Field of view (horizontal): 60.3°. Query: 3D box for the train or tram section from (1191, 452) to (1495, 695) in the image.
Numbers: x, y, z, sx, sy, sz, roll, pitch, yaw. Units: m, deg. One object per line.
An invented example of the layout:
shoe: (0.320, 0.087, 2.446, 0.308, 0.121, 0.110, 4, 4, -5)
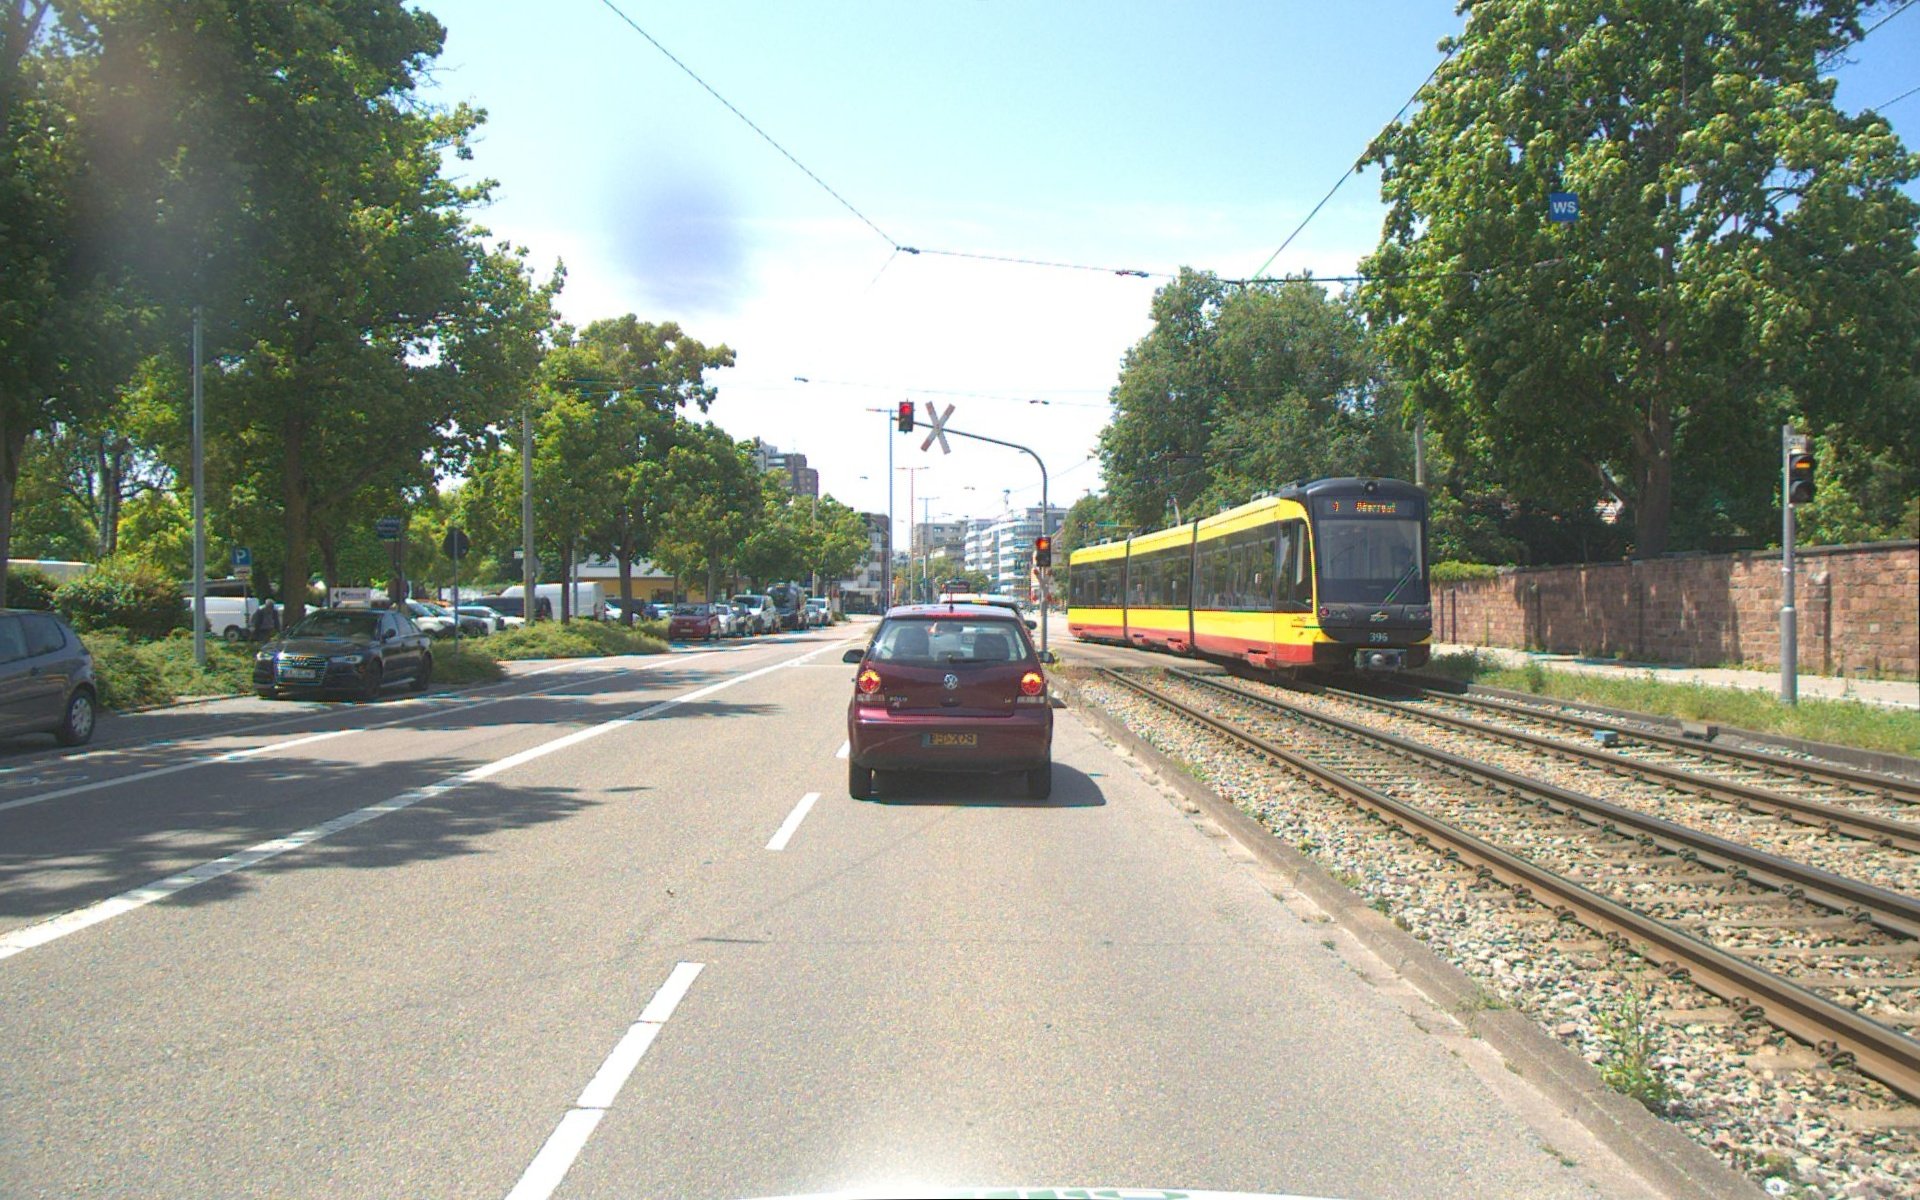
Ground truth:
train or tram section: (7.034, -0.438, 33.006, 2.966, 3.864, 13.088, 0, 0, 0)

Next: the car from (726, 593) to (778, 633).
car: (-10.388, 0.667, 82.849, 1.746, 1.914, 4.787, 2, -1, 2)

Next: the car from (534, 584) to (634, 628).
car: (-21.299, 0.354, 93.807, 4.992, 2.284, 2.378, 2, -1, 0)

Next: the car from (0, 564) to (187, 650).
car: (-33.106, 0.262, 62.295, 6.713, 3.017, 2.363, 2, -1, -2)

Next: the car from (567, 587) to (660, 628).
car: (-20.717, 0.447, 99.039, 4.992, 2.284, 2.378, 2, -1, 0)

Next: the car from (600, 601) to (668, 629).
car: (-20.972, 0.947, 106.351, 3.938, 1.645, 1.816, 2, -1, 0)

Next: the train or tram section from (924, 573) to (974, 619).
train or tram section: (-1.019, -0.363, 141.569, 2.689, 3.672, 12.849, 2, 0, -7)

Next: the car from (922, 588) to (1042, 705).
car: (0.276, 0.682, 26.429, 1.741, 1.676, 3.999, 1, 0, -1)

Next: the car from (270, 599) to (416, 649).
car: (-20.958, 0.800, 56.327, 4.256, 1.613, 1.912, -1, 0, -3)

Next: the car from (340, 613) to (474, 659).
car: (-20.463, 1.320, 61.285, 4.251, 1.613, 1.914, -1, 0, 5)

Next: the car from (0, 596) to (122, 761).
car: (-10.297, 0.765, 16.487, 1.782, 1.592, 4.180, 1, 0, -1)

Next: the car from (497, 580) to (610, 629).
car: (-20.260, 0.244, 82.594, 4.992, 2.284, 2.378, 2, -1, 0)

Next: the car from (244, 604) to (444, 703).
car: (-10.408, 0.854, 28.309, 1.782, 1.502, 4.448, 1, 0, -1)

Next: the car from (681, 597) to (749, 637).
car: (-10.707, 0.754, 72.605, 1.934, 1.629, 4.560, 2, -1, 4)

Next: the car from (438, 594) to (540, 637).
car: (-20.482, 0.657, 72.041, 3.906, 1.776, 1.998, -1, 0, -2)

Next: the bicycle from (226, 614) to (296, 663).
bicycle: (-15.654, 0.864, 37.071, 0.686, 1.048, 1.829, 2, -1, 3)

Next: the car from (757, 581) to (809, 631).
car: (-10.205, 0.363, 95.897, 2.313, 2.739, 5.307, 2, -1, 0)

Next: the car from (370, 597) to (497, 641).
car: (-20.365, 0.725, 64.010, 4.251, 1.613, 1.914, -1, 0, 6)

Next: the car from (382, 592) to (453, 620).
car: (-35.188, 0.412, 107.349, 3.939, 1.645, 1.816, 2, -1, -2)

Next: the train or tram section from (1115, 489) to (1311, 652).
train or tram section: (6.639, -0.714, 45.938, 2.967, 3.864, 13.083, 0, 0, -2)

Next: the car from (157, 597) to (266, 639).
car: (-32.627, 0.779, 72.140, 3.913, 1.682, 1.812, 2, -1, -9)

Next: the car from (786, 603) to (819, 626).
car: (-10.759, 0.985, 113.110, 1.581, 1.466, 4.001, 2, -1, 3)

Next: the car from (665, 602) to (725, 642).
car: (-10.532, 0.876, 66.057, 1.628, 1.523, 4.000, 2, -1, 1)

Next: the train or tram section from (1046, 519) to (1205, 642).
train or tram section: (5.560, -0.629, 58.490, 2.970, 3.864, 12.742, 0, 0, -6)

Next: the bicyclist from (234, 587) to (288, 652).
bicyclist: (-15.643, 0.438, 37.035, 0.792, 1.398, 0.828, 2, -1, 2)

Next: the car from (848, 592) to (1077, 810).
car: (-0.025, 0.736, 14.055, 1.638, 1.548, 3.999, 1, 0, -1)
